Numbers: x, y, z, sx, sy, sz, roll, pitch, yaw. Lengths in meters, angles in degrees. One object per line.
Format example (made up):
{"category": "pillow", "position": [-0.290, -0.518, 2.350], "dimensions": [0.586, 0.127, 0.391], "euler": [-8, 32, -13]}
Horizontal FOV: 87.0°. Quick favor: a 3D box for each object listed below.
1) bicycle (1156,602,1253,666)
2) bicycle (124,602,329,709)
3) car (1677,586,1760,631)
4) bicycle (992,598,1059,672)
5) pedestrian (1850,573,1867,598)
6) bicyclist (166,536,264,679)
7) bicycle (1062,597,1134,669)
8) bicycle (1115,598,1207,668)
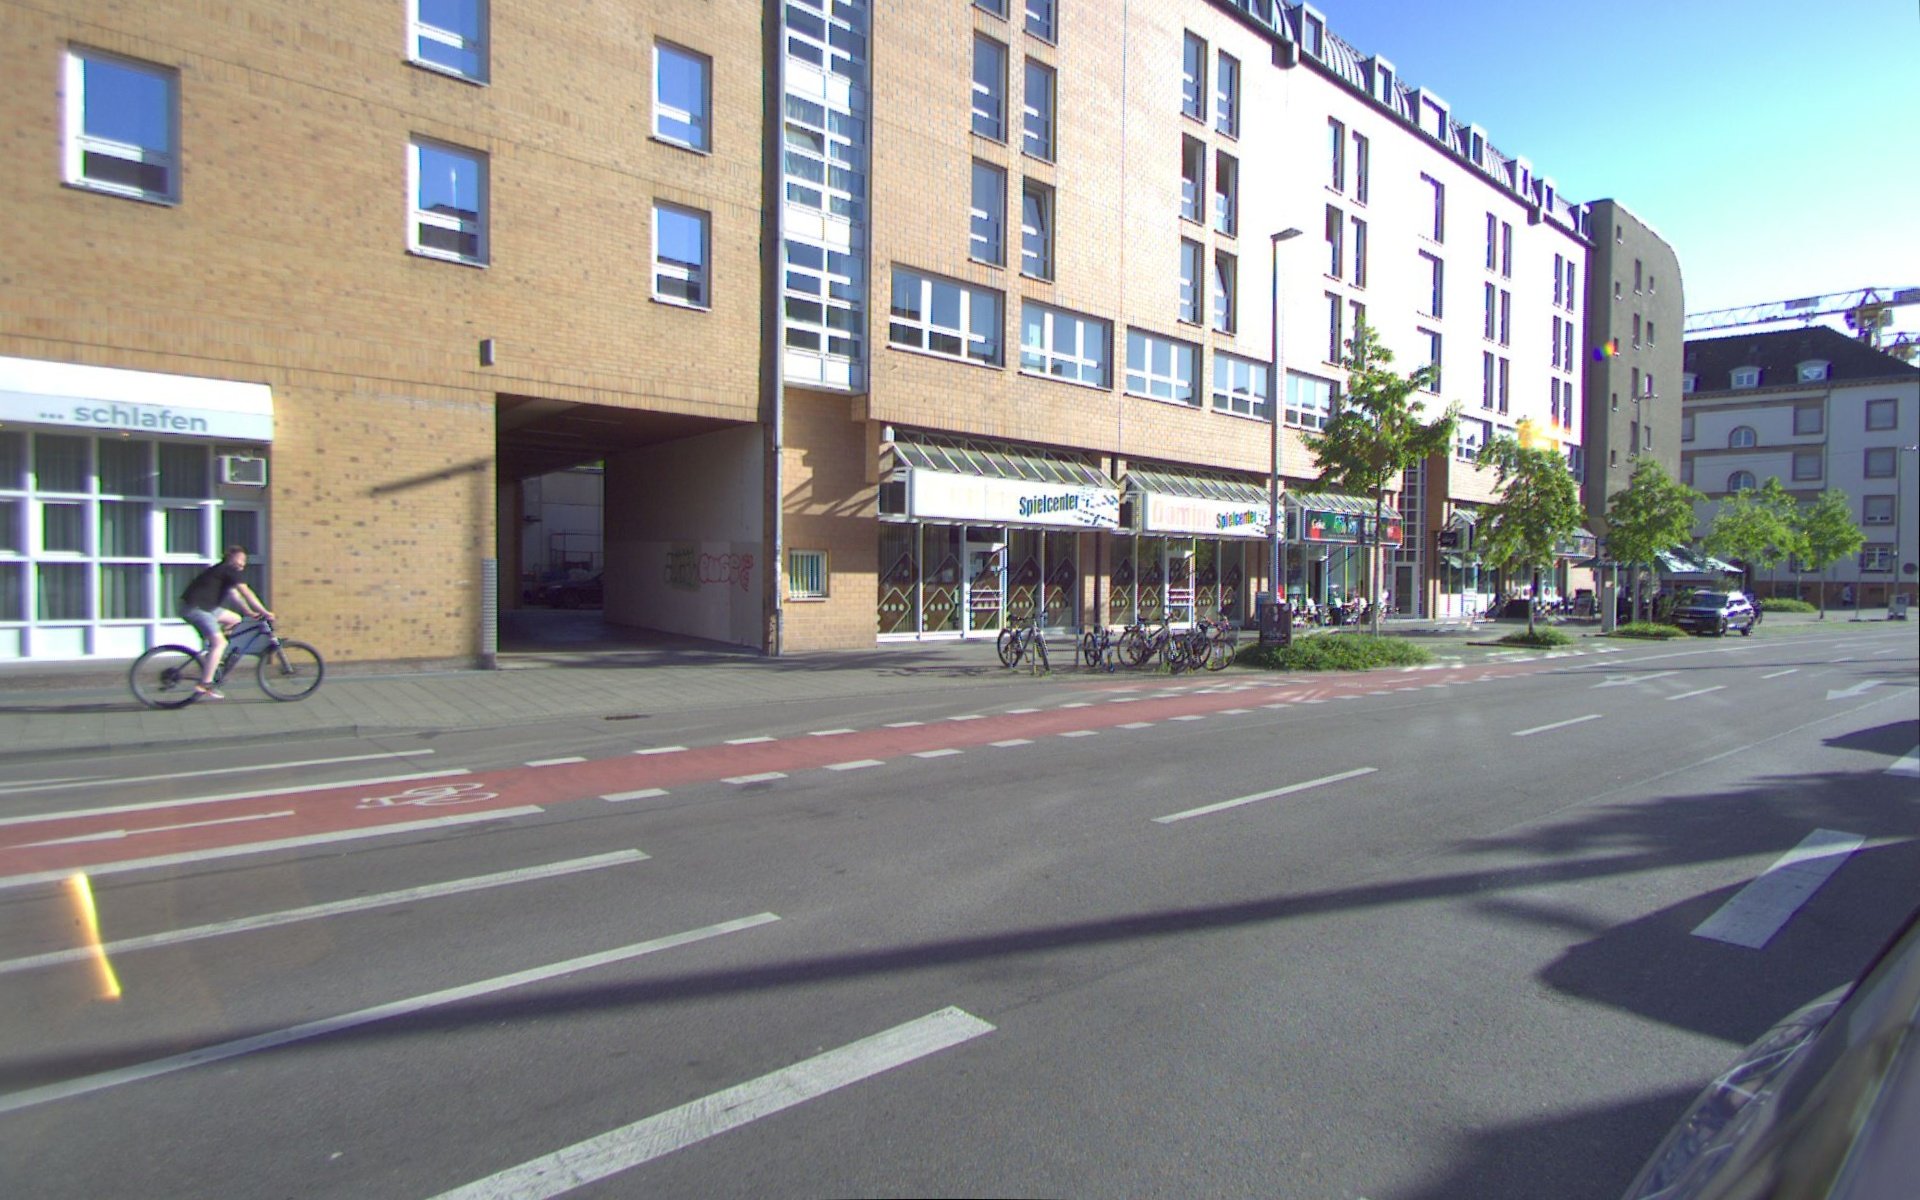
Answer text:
{"category": "bicycle", "position": [4.750, 0.635, 19.748], "dimensions": [0.724, 1.084, 1.775], "euler": [-2, 4, -37]}
{"category": "bicycle", "position": [-8.294, 0.590, 11.504], "dimensions": [1.848, 1.062, 0.602], "euler": [0, 6, -39]}
{"category": "car", "position": [27.734, 0.282, 36.967], "dimensions": [3.628, 1.549, 1.654], "euler": [-1, 1, -40]}
{"category": "bicycle", "position": [1.149, 0.594, 18.158], "dimensions": [0.541, 1.162, 1.780], "euler": [-1, 3, -20]}
{"category": "pedestrian", "position": [60.004, -0.961, 67.565], "dimensions": [0.801, 1.687, 0.878], "euler": [1, 1, 42]}
{"category": "bicyclist", "position": [-8.462, 0.078, 11.493], "dimensions": [0.835, 1.533, 0.580], "euler": [1, 4, -40]}
{"category": "bicycle", "position": [2.516, 0.569, 18.630], "dimensions": [0.541, 1.162, 1.780], "euler": [-1, 3, -20]}
{"category": "bicycle", "position": [3.759, 0.587, 19.060], "dimensions": [0.543, 1.155, 1.775], "euler": [-2, 4, -37]}
